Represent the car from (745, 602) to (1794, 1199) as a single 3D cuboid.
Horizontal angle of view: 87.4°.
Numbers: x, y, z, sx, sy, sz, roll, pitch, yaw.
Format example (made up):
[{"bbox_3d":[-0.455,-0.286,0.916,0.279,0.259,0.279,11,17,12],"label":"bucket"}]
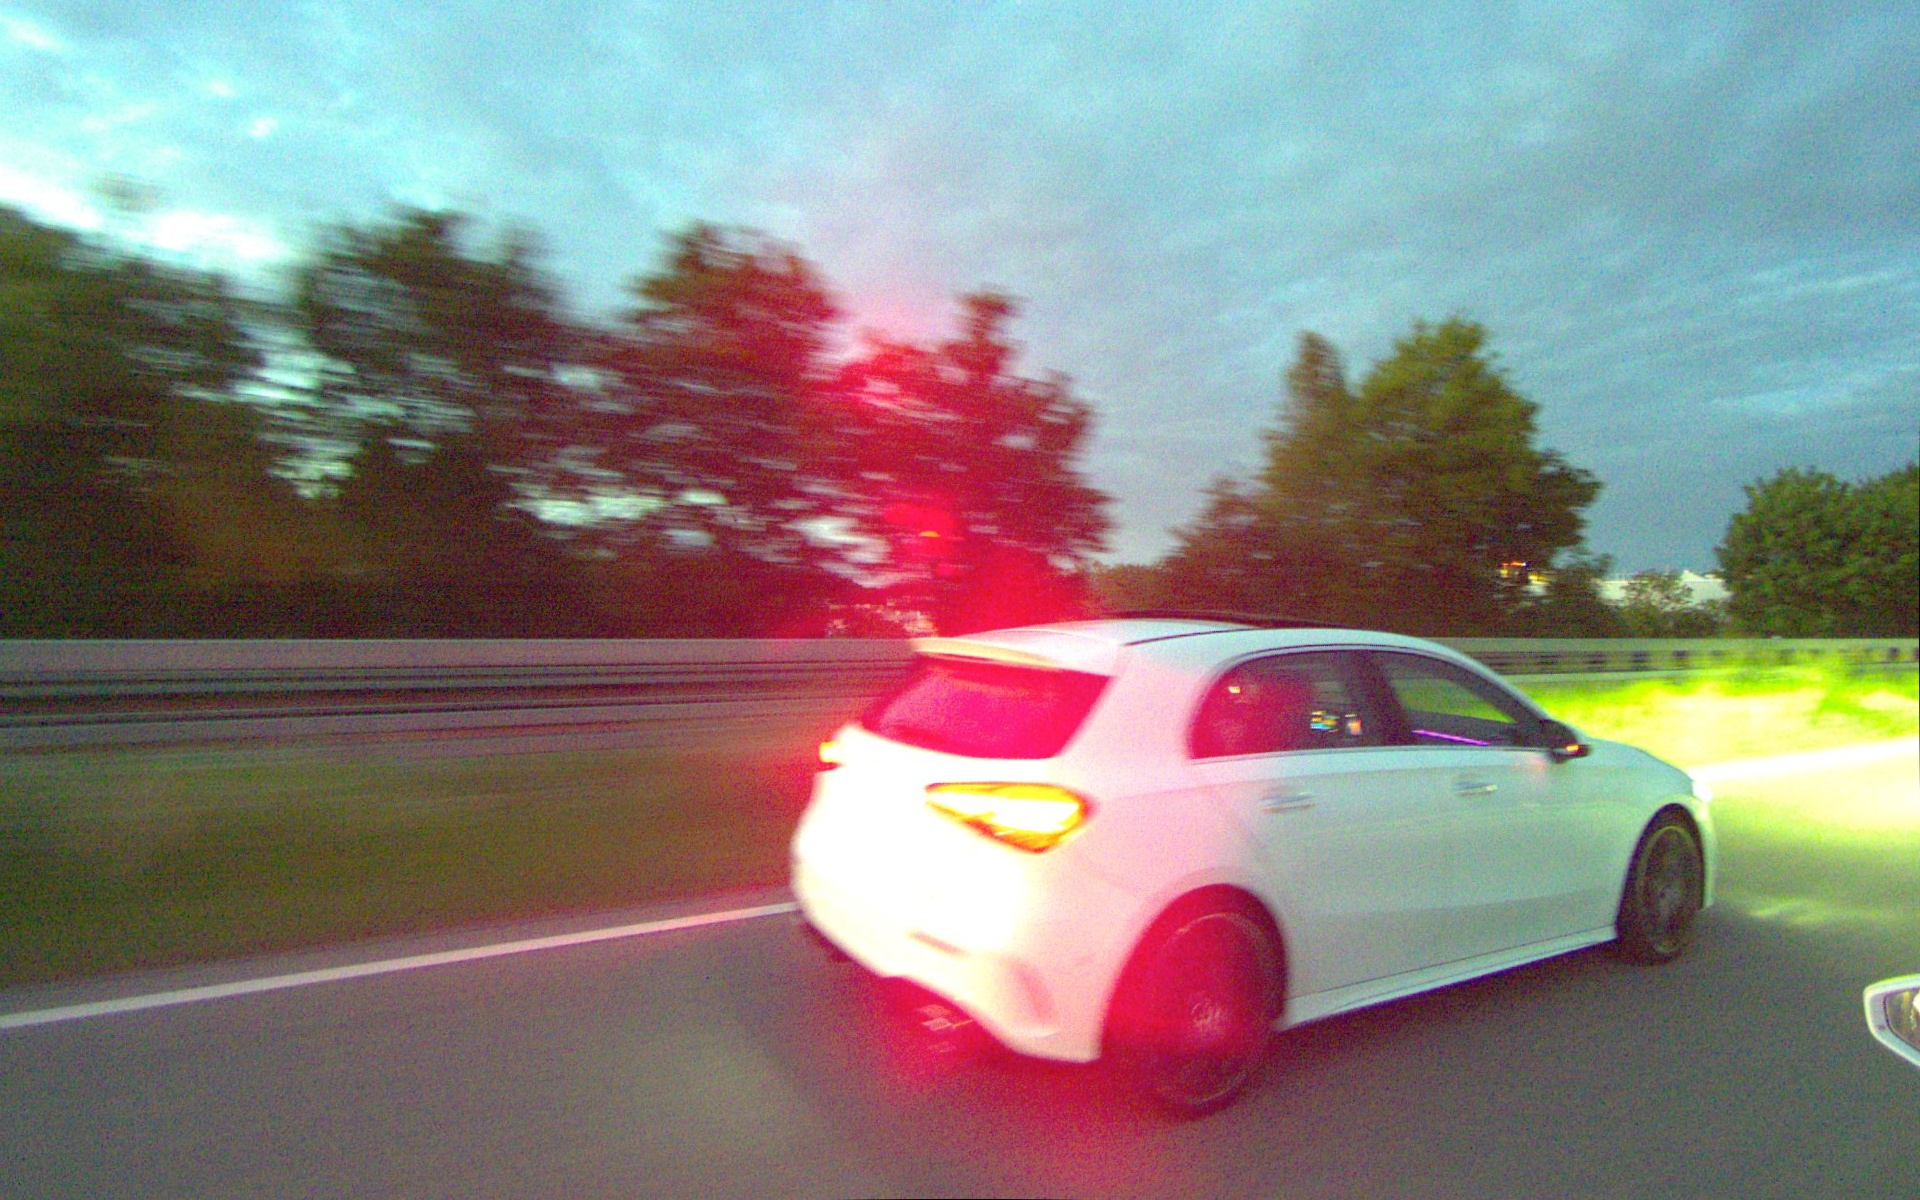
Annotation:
[{"bbox_3d":[1.554,0.824,4.244,4.527,1.510,1.633,2,0,-31],"label":"car"}]
